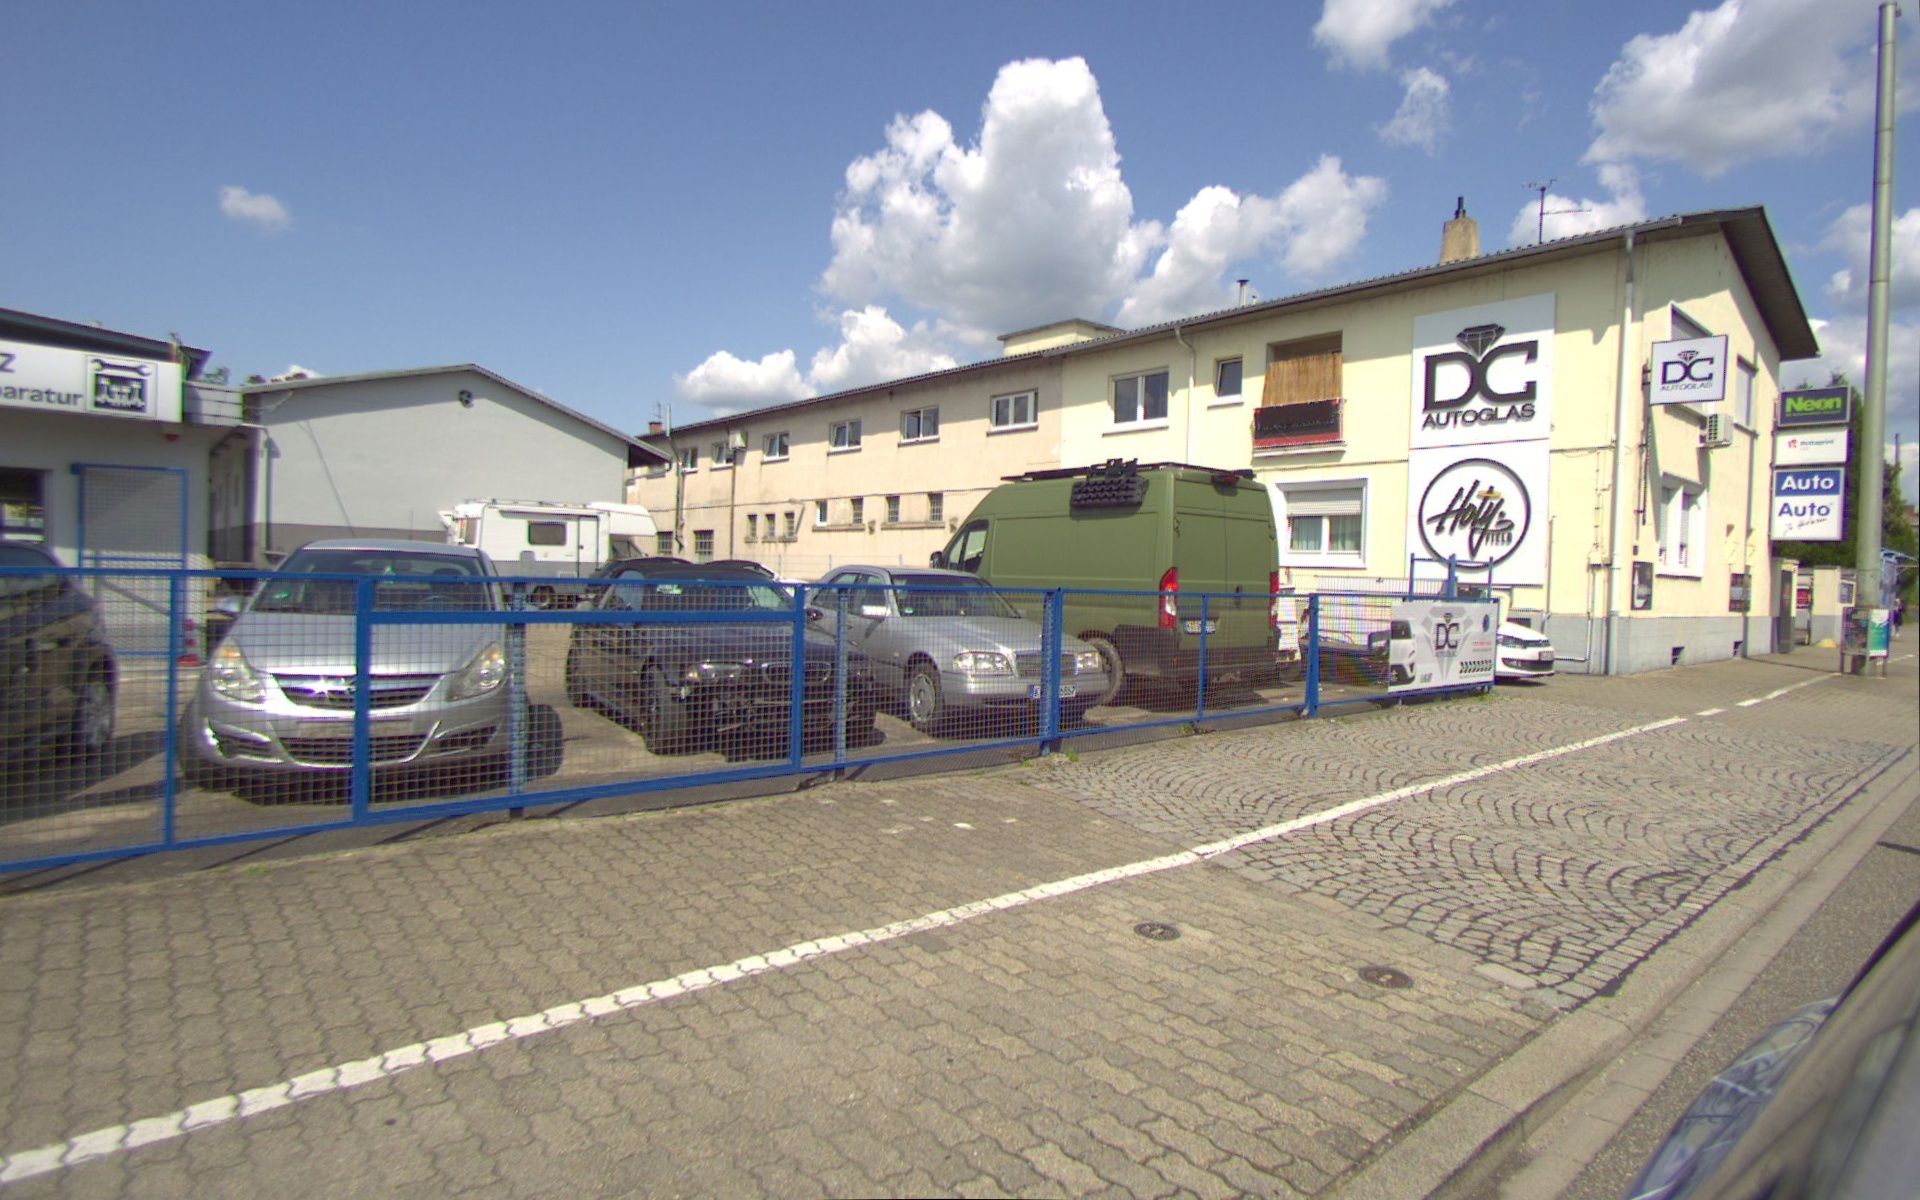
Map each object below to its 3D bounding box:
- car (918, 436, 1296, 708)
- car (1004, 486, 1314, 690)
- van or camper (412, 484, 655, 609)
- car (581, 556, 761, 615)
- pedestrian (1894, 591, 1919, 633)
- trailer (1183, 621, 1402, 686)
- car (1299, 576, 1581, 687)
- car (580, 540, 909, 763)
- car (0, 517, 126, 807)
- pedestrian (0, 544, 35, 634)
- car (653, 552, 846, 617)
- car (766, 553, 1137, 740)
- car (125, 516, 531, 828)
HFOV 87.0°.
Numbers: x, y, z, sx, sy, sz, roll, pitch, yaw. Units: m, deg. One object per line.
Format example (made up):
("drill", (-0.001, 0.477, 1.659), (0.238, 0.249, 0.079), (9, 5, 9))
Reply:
("car", (1.591, -0.350, 12.253), (2.075, 2.675, 4.208), (1, 2, -39))
("car", (2.617, -0.226, 14.217), (1.557, 2.436, 4.208), (1, 2, -39))
("van or camper", (-11.300, -1.326, 27.108), (5.556, 3.002, 2.272), (0, 2, -42))
("car", (-7.303, -0.360, 25.808), (4.112, 1.378, 1.645), (0, 2, -41))
("pedestrian", (41.576, 0.530, 44.207), (1.255, 1.773, 0.941), (0, 1, -41))
("trailer", (4.753, 0.724, 14.648), (1.307, 0.674, 2.730), (0, 2, -42))
("car", (7.536, 0.406, 16.177), (1.527, 1.481, 3.775), (1, 2, -39))
("car", (-2.125, 0.273, 8.894), (1.737, 1.470, 4.128), (1, 2, -28))
("car", (-5.629, 0.304, 4.868), (1.606, 1.470, 3.701), (1, 2, -25))
("pedestrian", (-13.157, -0.158, 13.878), (0.652, 1.224, 0.566), (1, 1, -39))
("car", (-4.840, -0.350, 23.545), (4.112, 1.378, 1.645), (0, 2, -41))
("car", (-0.335, 0.286, 10.200), (1.679, 1.470, 4.292), (1, 2, -33))
("car", (-3.895, 0.280, 6.838), (1.736, 1.470, 3.778), (1, 2, -24))
